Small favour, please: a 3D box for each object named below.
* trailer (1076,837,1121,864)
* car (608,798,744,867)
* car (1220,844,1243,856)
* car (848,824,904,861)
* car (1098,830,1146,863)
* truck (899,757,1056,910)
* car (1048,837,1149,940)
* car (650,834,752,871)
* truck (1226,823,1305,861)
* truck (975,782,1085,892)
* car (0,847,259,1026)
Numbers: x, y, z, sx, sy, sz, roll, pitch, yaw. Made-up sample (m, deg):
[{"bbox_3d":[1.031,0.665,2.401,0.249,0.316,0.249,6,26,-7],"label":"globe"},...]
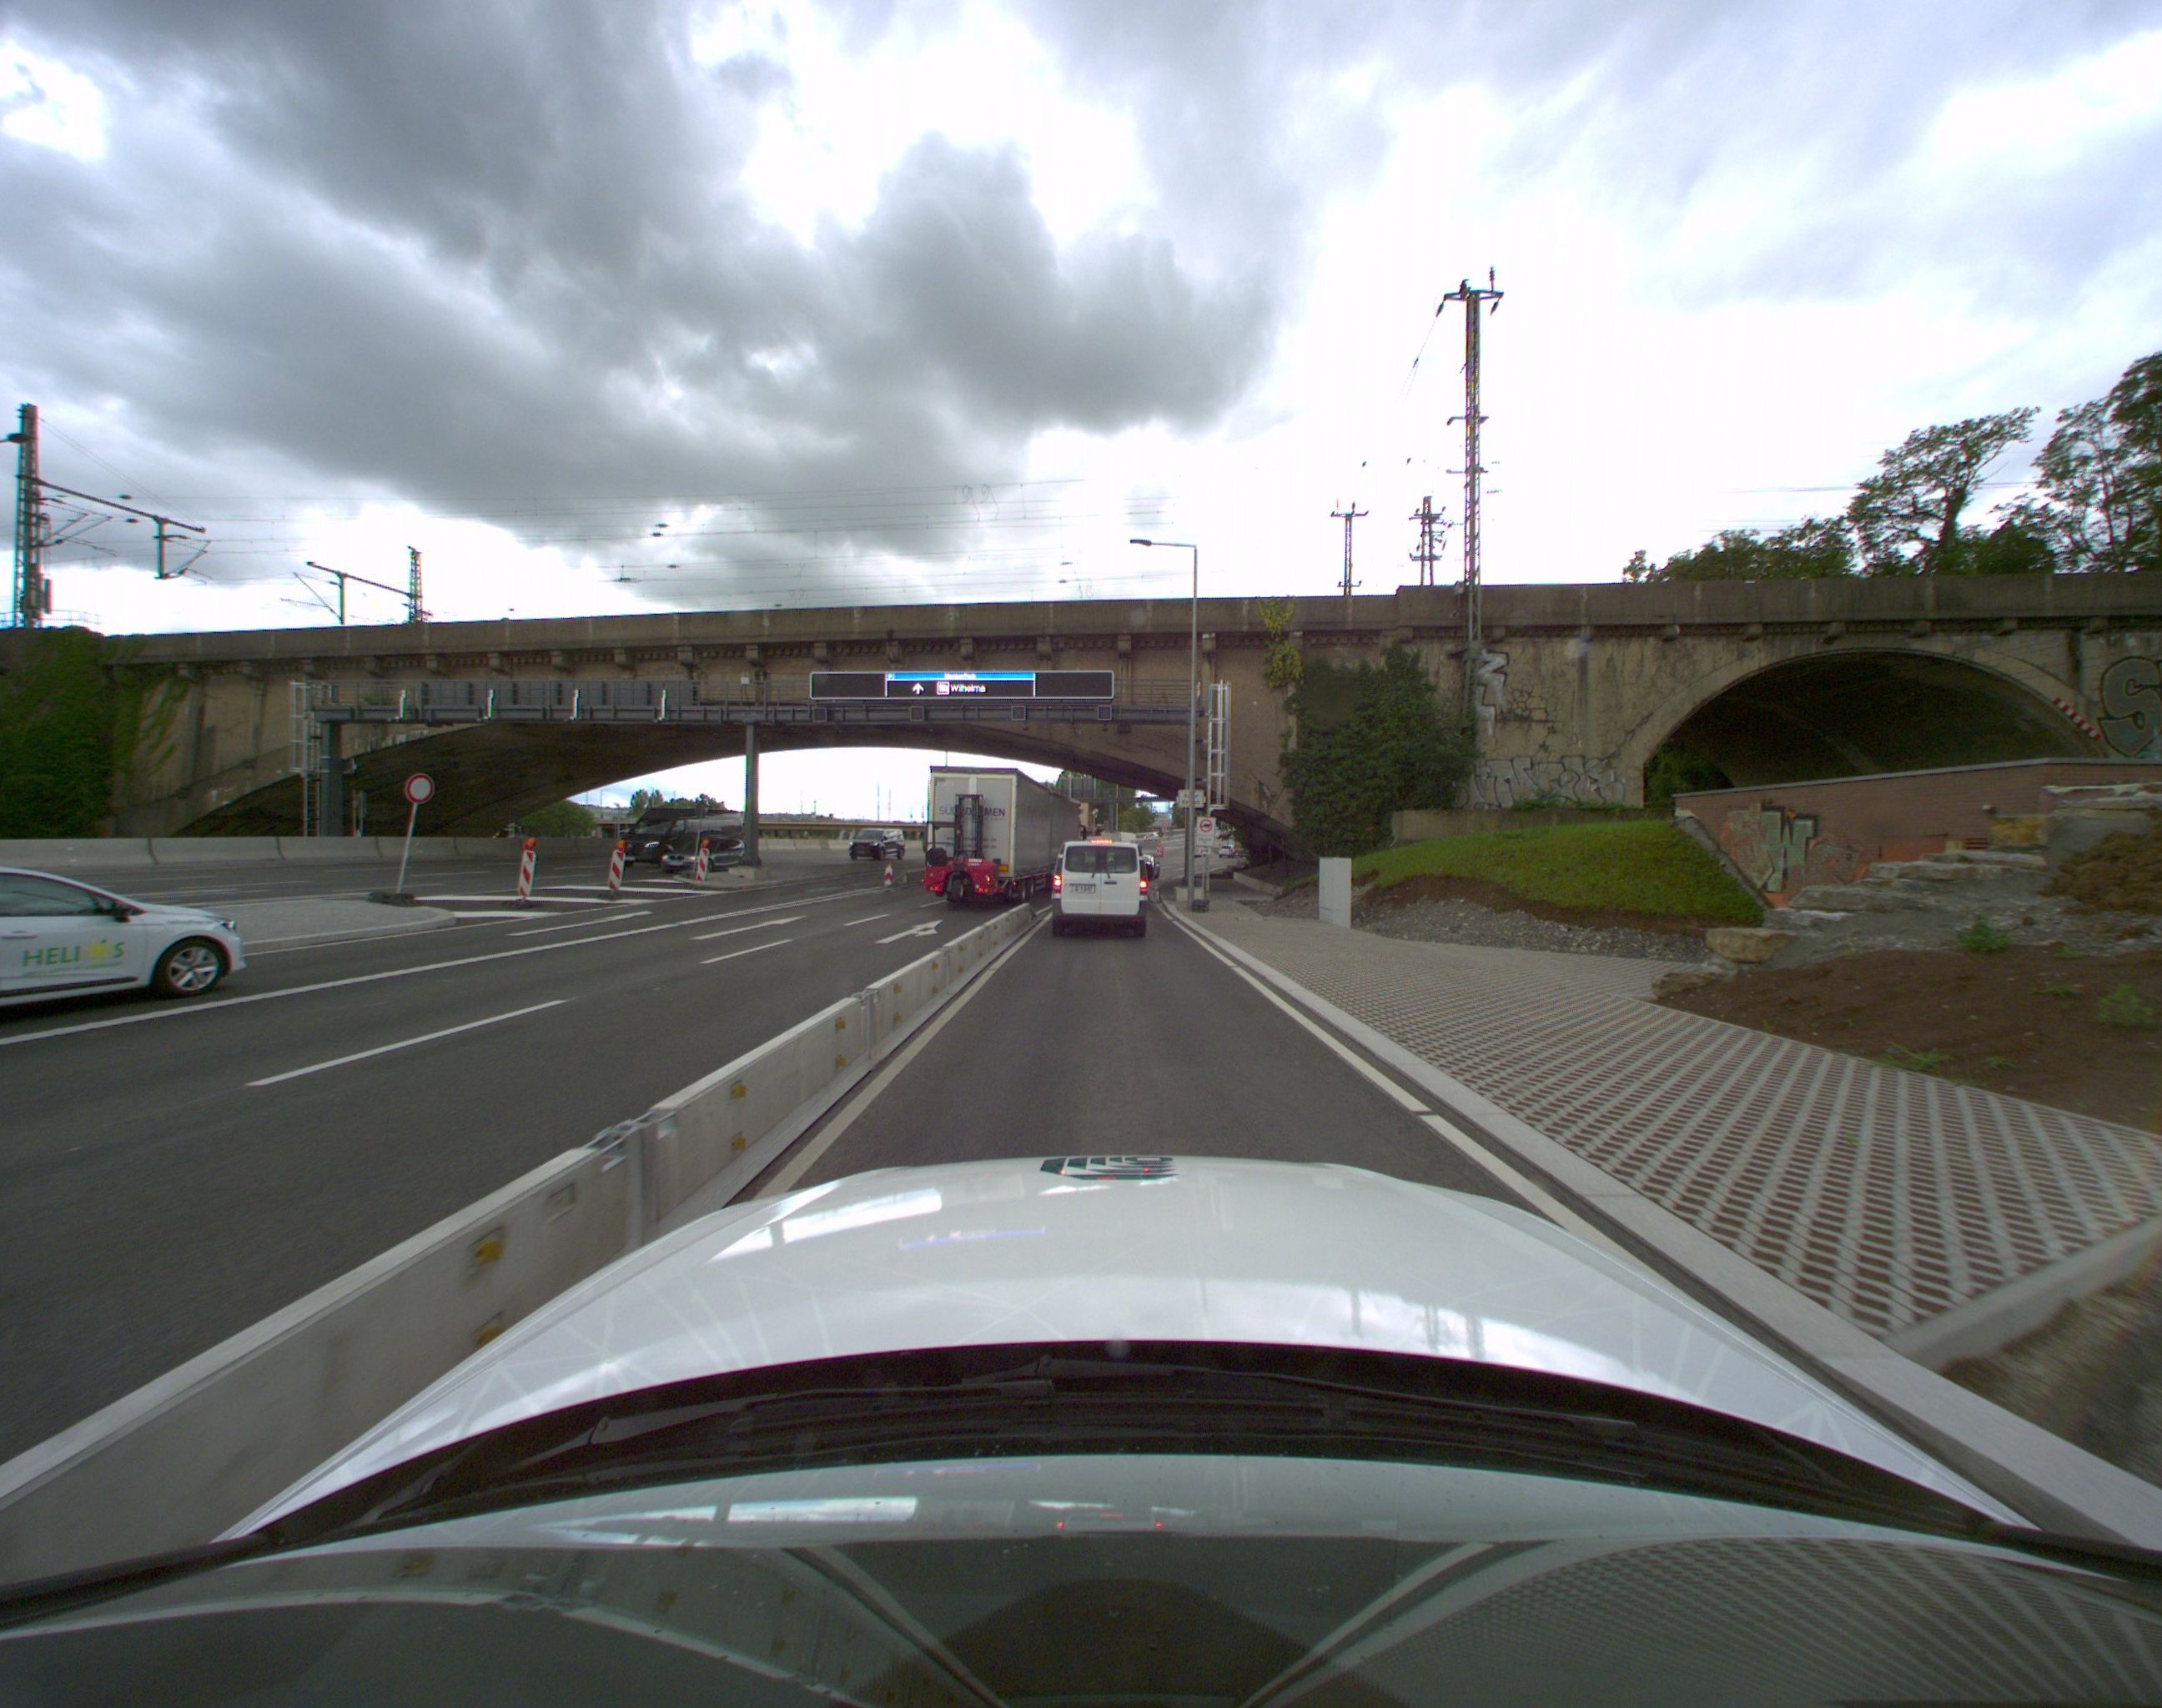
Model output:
[{"bbox_3d":[1.423,-0.291,62.849,1.976,1.957,4.101,3,2,24],"label":"trailer"},{"bbox_3d":[-17.871,-0.859,36.428,2.201,2.777,6.162,-1,0,10],"label":"car"},{"bbox_3d":[17.261,-0.499,93.287,1.359,1.376,3.484,1,1,31],"label":"car"},{"bbox_3d":[-13.132,-0.687,52.557,1.953,2.014,5.194,-1,-2,4],"label":"car"},{"bbox_3d":[3.408,-0.616,67.039,1.976,2.541,5.204,3,2,25],"label":"car"},{"bbox_3d":[-2.943,-0.536,26.850,2.904,4.017,10.214,1,0,5],"label":"truck"},{"bbox_3d":[0.466,0.655,17.672,1.868,1.891,4.757,1,0,3],"label":"car"},{"bbox_3d":[-14.724,-0.070,31.845,1.879,1.331,4.258,-1,0,1],"label":"car"},{"bbox_3d":[21.146,-1.271,92.128,3.285,3.808,16.698,3,2,32],"label":"truck"},{"bbox_3d":[-1.935,-0.578,36.979,2.972,4.176,11.259,1,-1,6],"label":"truck"},{"bbox_3d":[-10.104,0.725,7.175,1.570,1.484,4.000,1,1,2],"label":"car"}]
